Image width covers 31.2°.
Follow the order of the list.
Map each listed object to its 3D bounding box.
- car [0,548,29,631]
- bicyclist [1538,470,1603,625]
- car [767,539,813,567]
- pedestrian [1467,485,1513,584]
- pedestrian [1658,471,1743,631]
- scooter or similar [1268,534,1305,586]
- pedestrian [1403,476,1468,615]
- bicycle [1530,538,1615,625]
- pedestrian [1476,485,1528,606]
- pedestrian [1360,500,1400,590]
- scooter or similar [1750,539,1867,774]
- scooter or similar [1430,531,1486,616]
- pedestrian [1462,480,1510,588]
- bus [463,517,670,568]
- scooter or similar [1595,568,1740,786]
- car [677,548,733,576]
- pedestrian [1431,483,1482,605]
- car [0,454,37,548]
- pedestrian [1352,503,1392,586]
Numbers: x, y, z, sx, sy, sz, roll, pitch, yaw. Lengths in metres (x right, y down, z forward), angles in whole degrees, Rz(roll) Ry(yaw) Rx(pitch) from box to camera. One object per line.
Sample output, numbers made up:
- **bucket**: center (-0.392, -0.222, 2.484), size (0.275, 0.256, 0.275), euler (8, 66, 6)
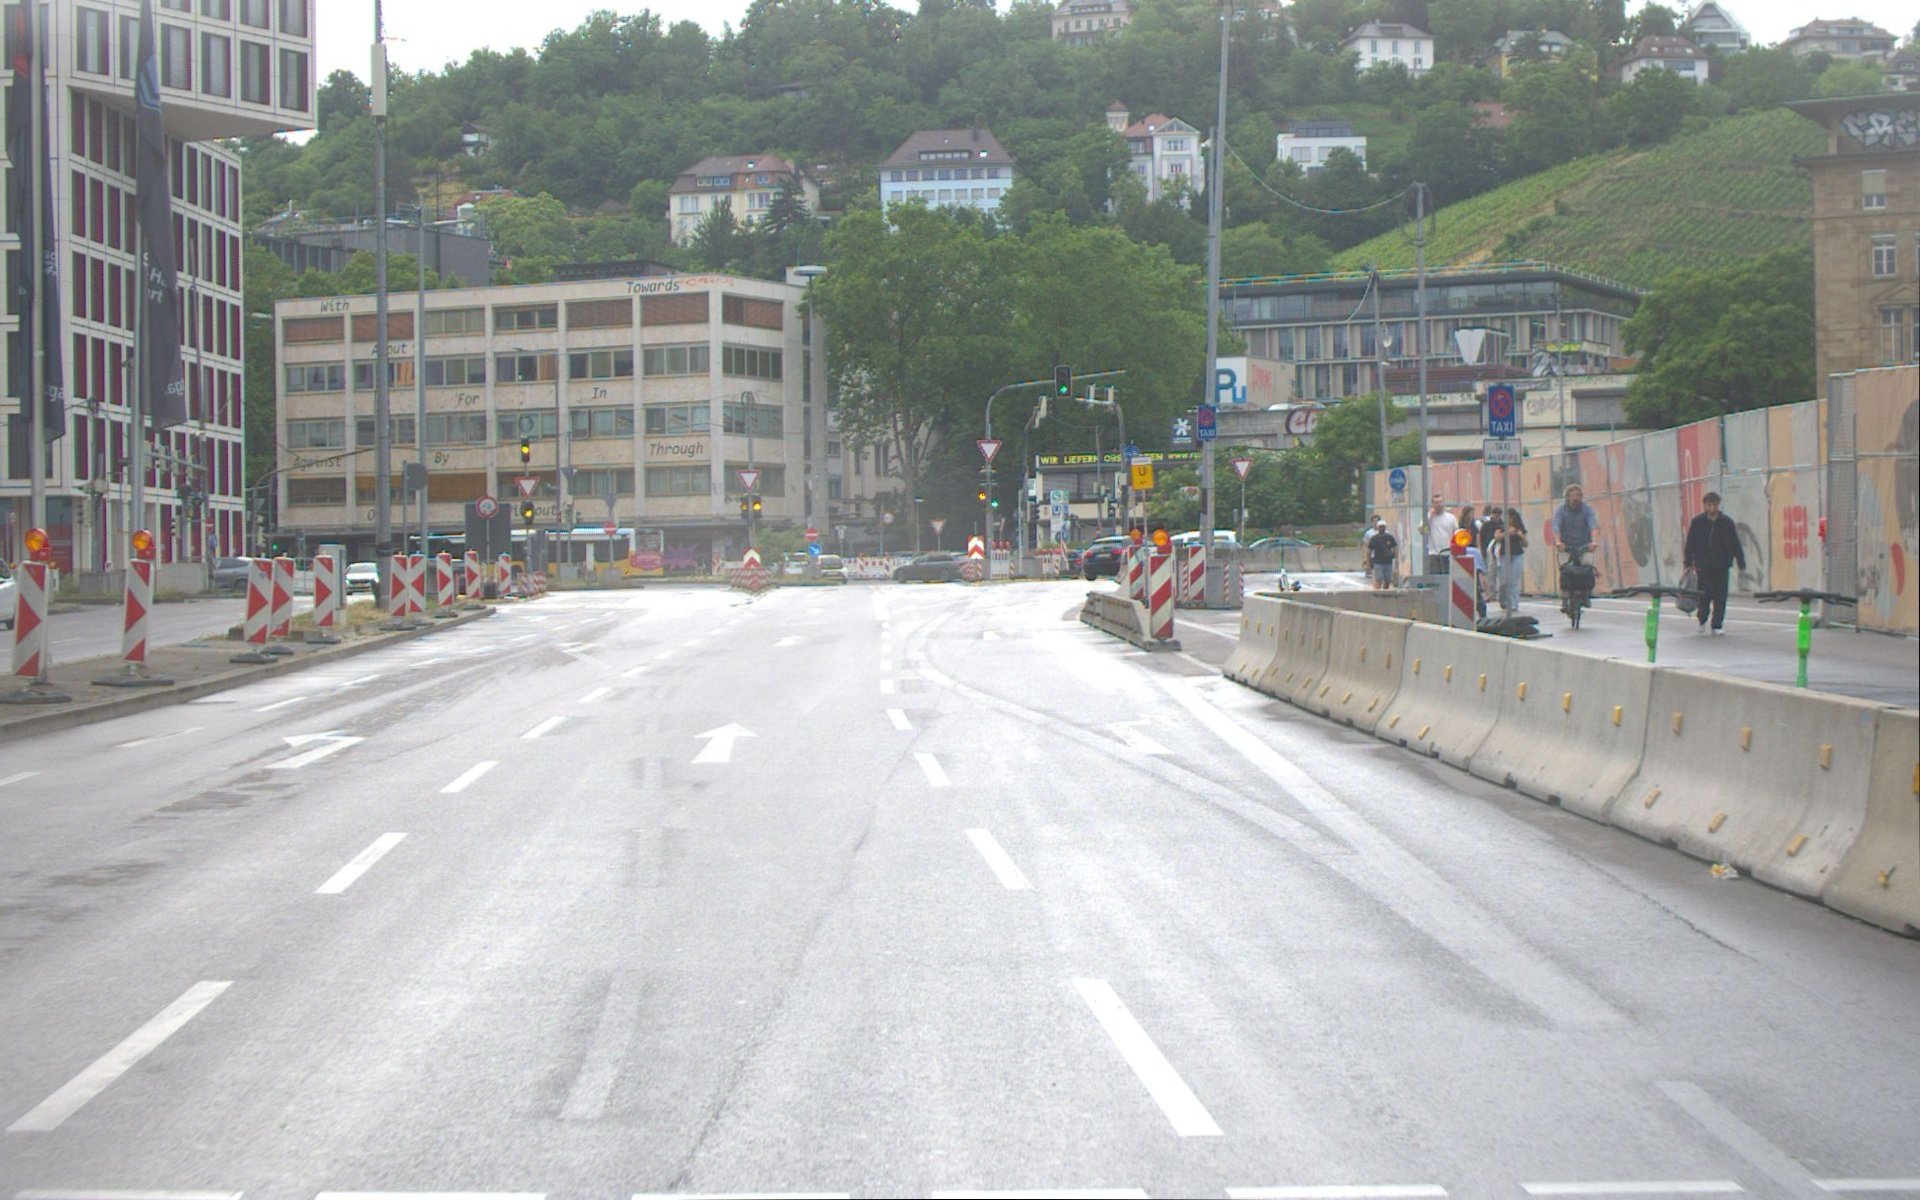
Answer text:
- **car**: center (-20.219, -0.207, 69.587), size (1.823, 1.663, 4.501), euler (-1, 1, -5)
- **bicyclist**: center (7.984, -0.685, 44.985), size (0.726, 2.007, 0.599), euler (-1, 1, 1)
- **car**: center (-9.048, -2.500, 182.661), size (1.729, 1.486, 4.079), euler (-1, 1, -13)
- **pedestrian**: center (10.125, -1.258, 65.753), size (0.703, 1.859, 0.990), euler (-1, 1, 0)
- **pedestrian**: center (8.867, -0.592, 41.179), size (0.848, 1.889, 0.662), euler (-1, 1, 1)
- **scooter or similar**: center (7.467, -0.922, 78.708), size (0.467, 1.179, 1.415), euler (-1, 1, -10)
- **pedestrian**: center (6.973, -0.802, 50.425), size (0.803, 2.009, 0.972), euler (-1, 1, 1)
- **bicycle**: center (7.995, -0.254, 44.955), size (0.766, 1.108, 1.981), euler (-1, 1, 1)
- **pedestrian**: center (8.482, -0.855, 53.798), size (0.683, 1.882, 0.693), euler (-1, 1, 1)
- **pedestrian**: center (8.182, -1.077, 67.007), size (0.642, 1.734, 0.838), euler (-1, 1, -2)
- **scooter or similar**: center (4.965, 0.317, 20.097), size (0.492, 1.329, 1.024), euler (-1, 1, 23)
- **scooter or similar**: center (7.146, -0.390, 49.361), size (0.664, 1.194, 1.044), euler (-1, 1, 1)
- **pedestrian**: center (9.260, -1.163, 60.518), size (0.683, 1.882, 0.693), euler (-1, 1, -3)
- **bus**: center (-22.718, -3.278, 197.556), size (13.963, 2.741, 3.204), euler (0, 1, 41)
- **scooter or similar**: center (4.458, 0.467, 21.711), size (0.524, 1.329, 1.025), euler (-1, 1, -11)
- **car**: center (-14.403, -2.145, 194.112), size (1.730, 1.486, 4.078), euler (-1, 1, -26)
- **pedestrian**: center (7.764, -0.879, 53.823), size (0.683, 1.882, 0.693), euler (-1, 1, 1)
- **car**: center (-24.732, -2.471, 87.147), size (1.774, 2.319, 4.372), euler (-1, 1, -4)
- **pedestrian**: center (8.683, -1.165, 72.470), size (0.683, 1.734, 0.907), euler (-1, 1, -2)
